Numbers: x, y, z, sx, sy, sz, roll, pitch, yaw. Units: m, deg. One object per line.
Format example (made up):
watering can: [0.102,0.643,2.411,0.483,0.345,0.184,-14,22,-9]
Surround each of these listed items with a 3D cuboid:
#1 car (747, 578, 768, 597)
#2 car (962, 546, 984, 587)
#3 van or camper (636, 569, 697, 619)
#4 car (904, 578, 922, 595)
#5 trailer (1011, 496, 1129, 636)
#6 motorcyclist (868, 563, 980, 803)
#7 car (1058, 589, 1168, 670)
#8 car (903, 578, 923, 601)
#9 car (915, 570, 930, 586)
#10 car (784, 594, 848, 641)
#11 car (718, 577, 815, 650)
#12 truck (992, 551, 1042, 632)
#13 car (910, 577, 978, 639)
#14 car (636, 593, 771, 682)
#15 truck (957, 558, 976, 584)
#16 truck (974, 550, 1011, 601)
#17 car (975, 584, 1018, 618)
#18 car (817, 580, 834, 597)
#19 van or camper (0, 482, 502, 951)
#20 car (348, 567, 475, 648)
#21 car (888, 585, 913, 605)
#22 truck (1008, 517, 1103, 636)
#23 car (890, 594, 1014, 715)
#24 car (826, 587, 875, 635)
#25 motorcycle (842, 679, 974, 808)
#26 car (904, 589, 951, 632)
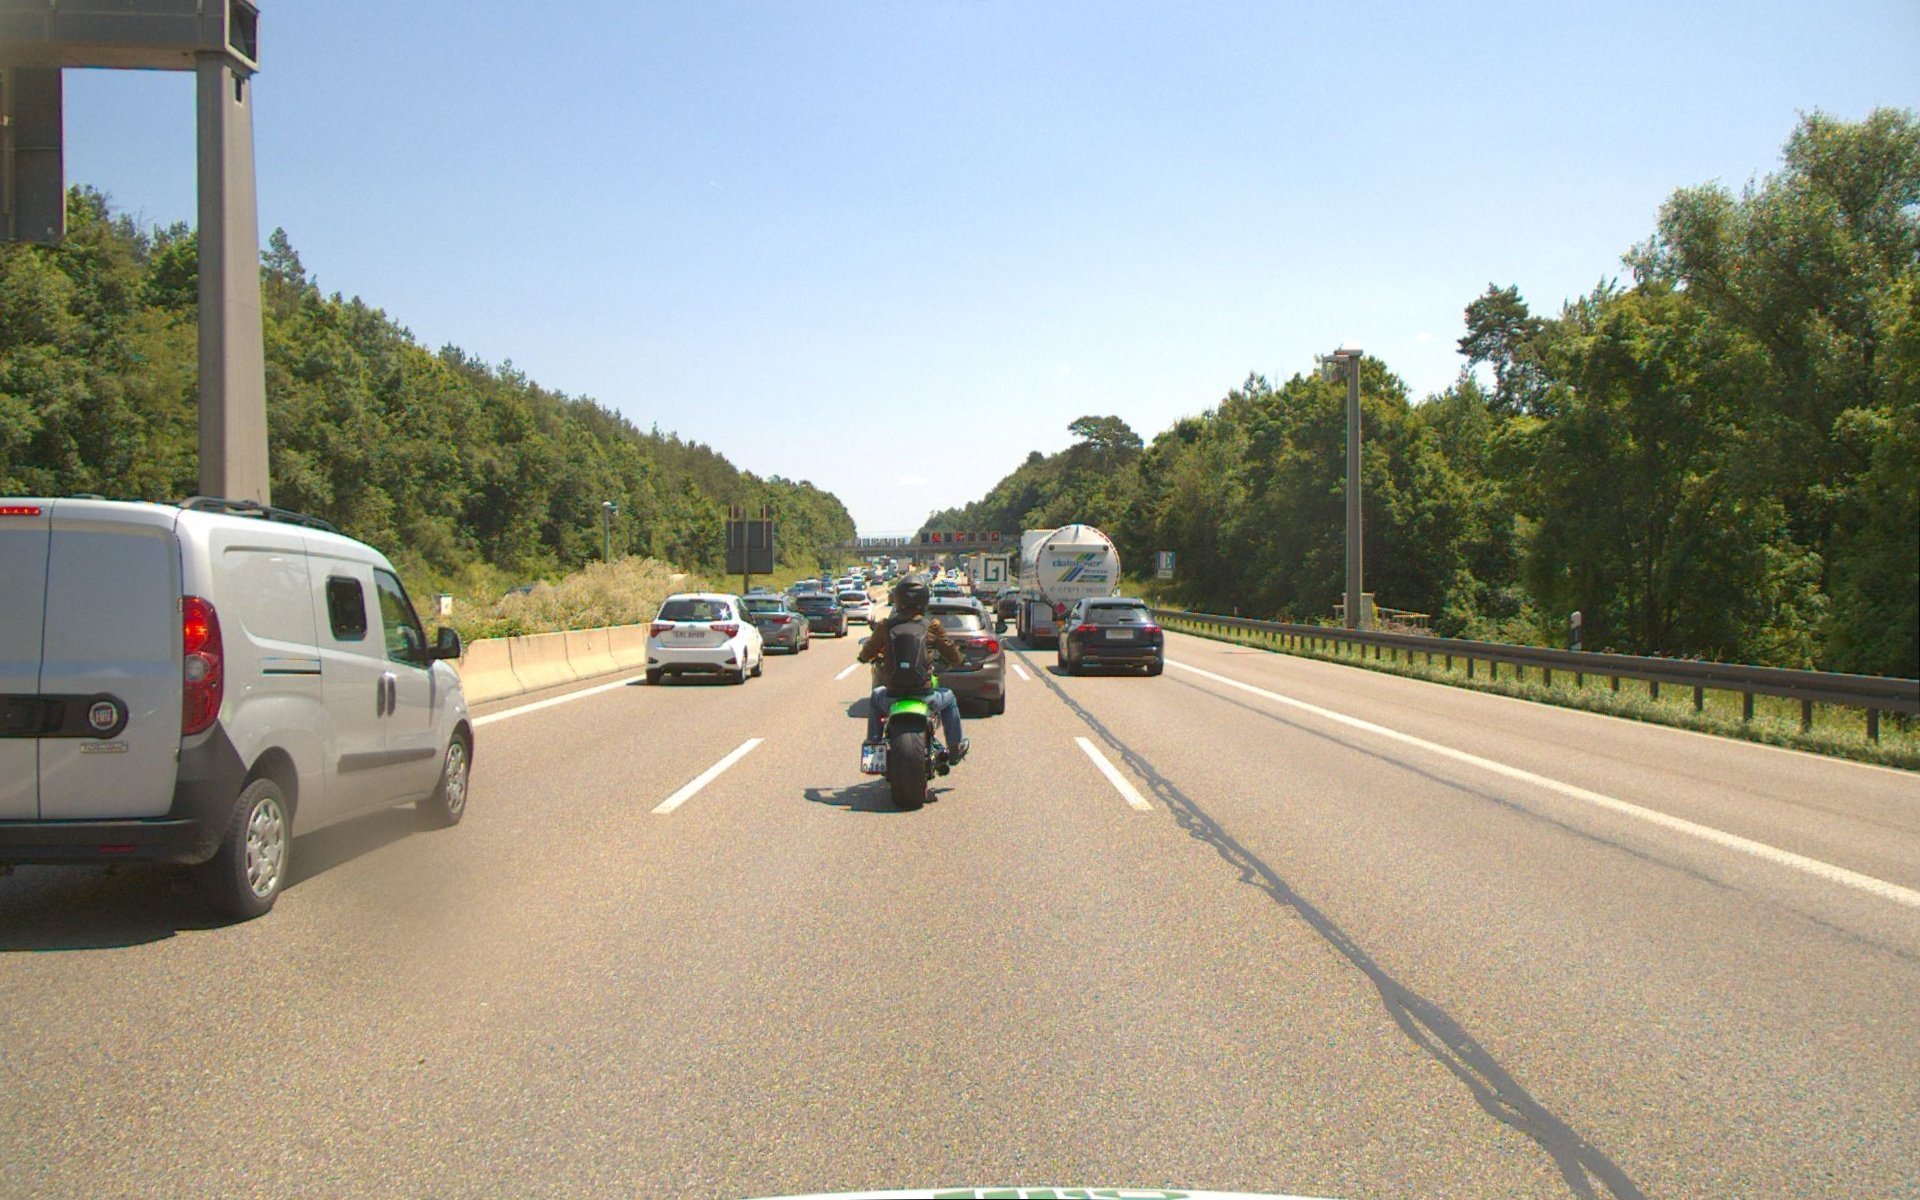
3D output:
car: [-22.910,-1.407,187.643,1.953,2.049,3.999,1,0,-1]
car: [1.315,-3.433,172.494,2.123,3.961,9.328,1,-1,0]
van or camper: [-15.477,-0.278,87.498,2.108,2.465,6.195,1,-1,0]
car: [-4.715,-1.328,166.881,1.626,1.627,4.000,0,-1,0]
trailer: [3.151,-0.814,50.036,2.770,3.735,10.730,1,-1,0]
motorcyclist: [-0.261,0.605,12.407,0.782,1.717,1.016,1,-1,0]
car: [2.996,0.598,33.166,1.755,1.484,4.623,1,-1,0]
car: [-4.115,-0.911,144.925,1.626,2.013,4.000,0,-1,0]
car: [-5.037,-2.981,224.227,1.953,2.049,3.999,0,0,0]
car: [-4.745,0.595,55.064,1.954,1.490,3.997,1,-1,-3]
car: [-4.831,0.364,41.903,1.953,1.713,4.329,1,-1,0]
truck: [3.325,-0.498,98.416,2.340,4.542,10.866,0,0,-1]
car: [-0.500,0.267,49.622,1.953,1.741,3.999,1,-1,-1]
car: [-4.432,0.603,29.090,1.739,1.435,4.000,1,0,0]
truck: [0.961,-4.262,245.900,2.641,3.465,10.476,0,0,0]
truck: [2.714,-1.909,134.239,2.794,3.888,7.189,1,-1,2]
car: [1.723,0.062,78.867,1.740,1.554,3.997,1,-1,-3]
car: [-15.482,-1.314,190.034,1.662,1.845,3.999,1,0,-1]
van or camper: [-4.040,0.460,9.048,1.815,1.913,4.561,1,0,-1]
car: [-14.591,0.185,44.217,1.953,2.049,4.272,0,0,0]
car: [-4.554,-0.418,127.037,1.728,1.467,4.000,2,0,0]
truck: [3.134,-0.682,55.759,2.770,3.735,6.428,1,-1,0]
car: [-0.105,0.680,22.349,1.509,1.476,3.999,1,0,0]
car: [-4.858,0.503,73.660,1.953,2.049,3.999,1,-1,-1]
motorcycle: [-0.373,1.060,12.759,0.917,0.807,2.298,1,-1,0]
car: [-1.386,0.476,71.423,1.953,1.806,3.999,1,-1,-1]
